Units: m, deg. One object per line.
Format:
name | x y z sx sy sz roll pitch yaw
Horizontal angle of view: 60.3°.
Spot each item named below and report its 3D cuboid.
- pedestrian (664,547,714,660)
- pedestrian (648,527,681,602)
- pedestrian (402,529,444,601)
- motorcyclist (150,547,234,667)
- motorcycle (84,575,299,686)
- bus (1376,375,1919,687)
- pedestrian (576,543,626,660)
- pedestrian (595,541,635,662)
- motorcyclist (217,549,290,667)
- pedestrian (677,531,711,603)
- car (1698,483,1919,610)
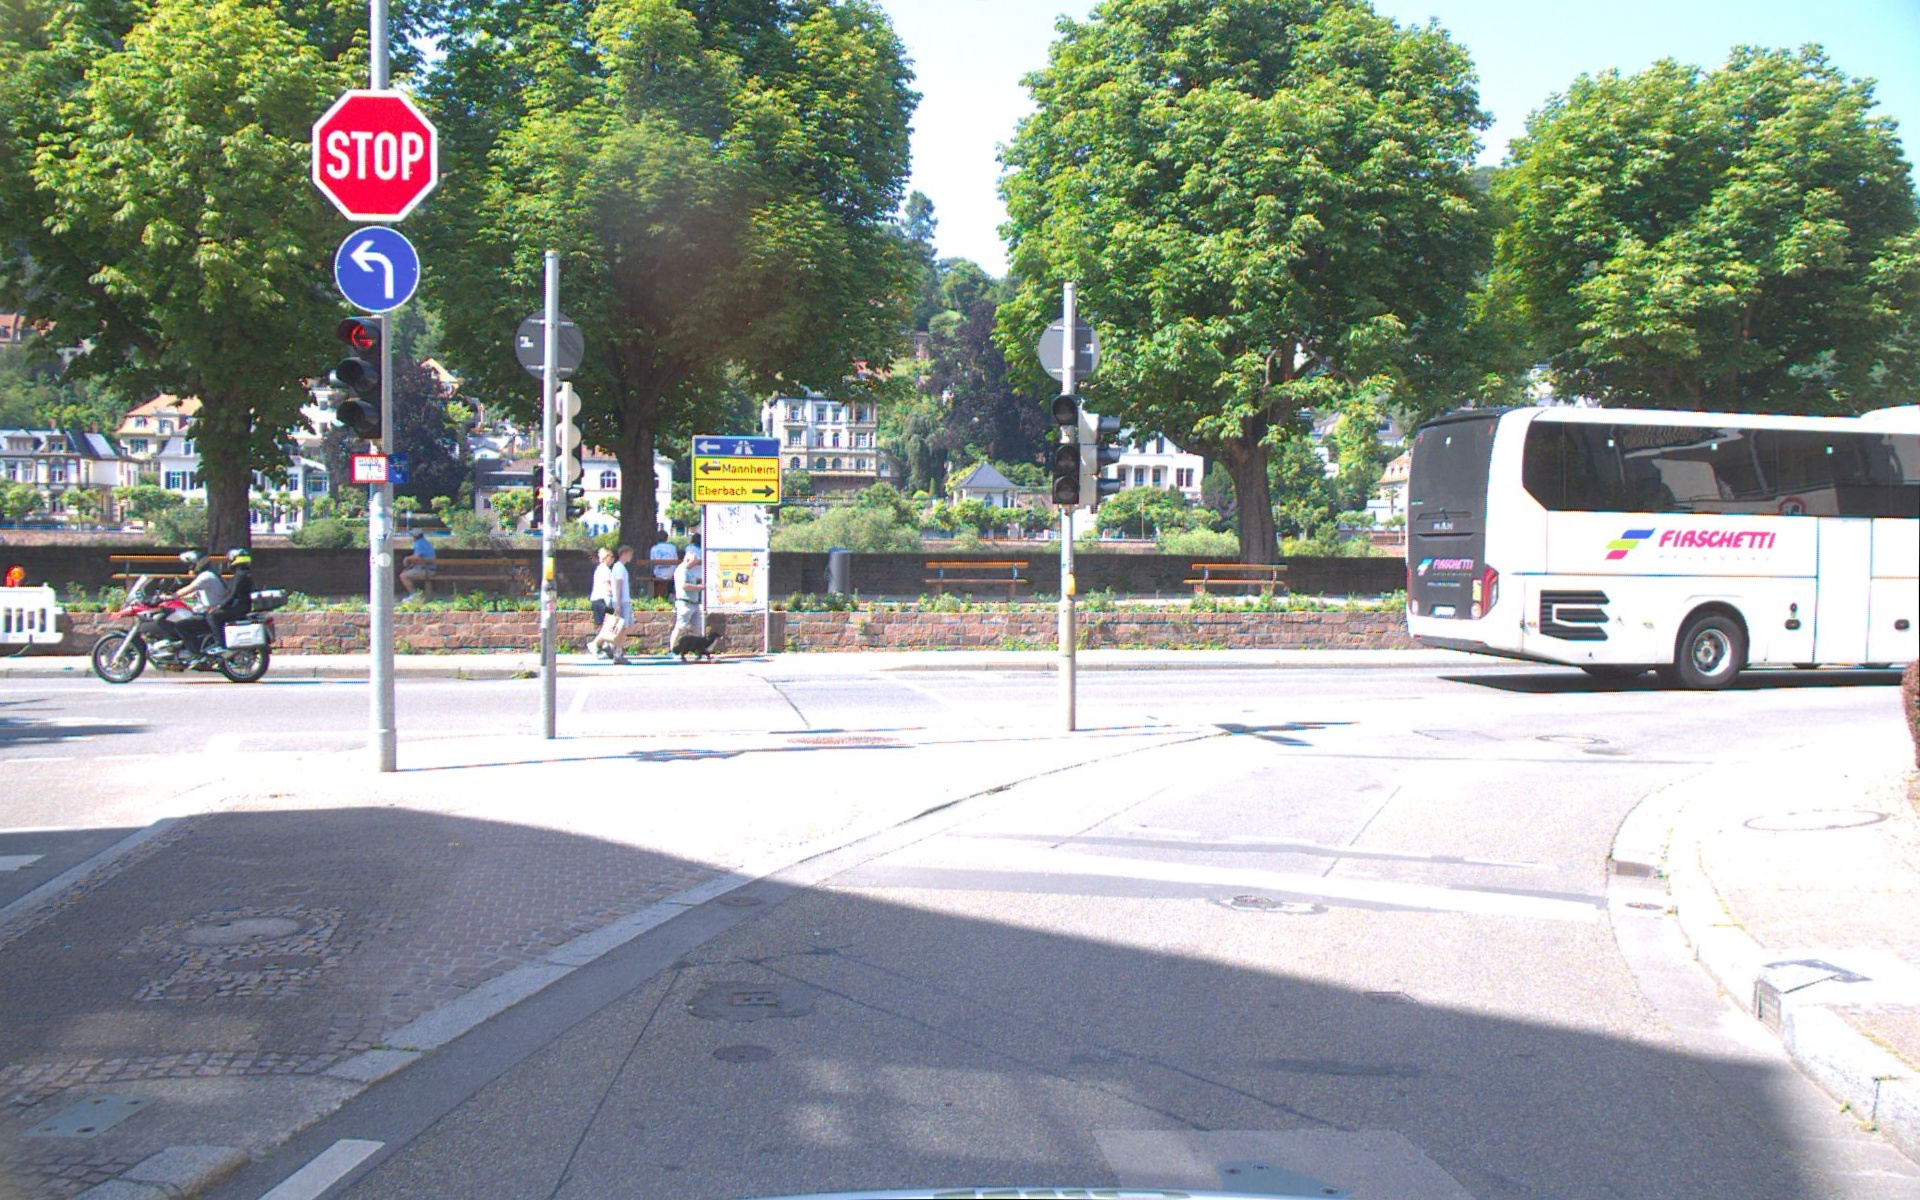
pedestrian | -4.398 0.053 26.817 0.677 1.800 0.714 -1 -1 -18
pedestrian | -5.374 -0.638 30.054 0.543 1.302 0.702 2 -3 -11
pedestrian | -9.372 -0.611 28.864 0.633 1.249 0.411 -1 0 -25
motorcyclist | -9.983 0.084 21.532 0.857 1.521 0.815 0 0 -15
motorcycle | -9.961 0.371 21.537 2.422 1.400 0.760 0 0 -15
bus | 11.964 -0.843 23.314 11.934 3.854 2.896 0 0 -14
pedestrian | -5.717 0.020 26.358 0.708 1.833 0.632 -1 -1 -10
pedestrian | -5.325 0.021 25.546 0.567 1.833 0.704 0 0 -9
motorcyclist | -9.267 0.098 21.732 0.758 1.519 0.815 0 0 -15
pedestrian | -4.890 -0.600 30.374 0.543 1.250 0.983 2 -3 -12
car | 14.242 -0.795 26.388 4.322 1.784 1.837 1 -2 -15
